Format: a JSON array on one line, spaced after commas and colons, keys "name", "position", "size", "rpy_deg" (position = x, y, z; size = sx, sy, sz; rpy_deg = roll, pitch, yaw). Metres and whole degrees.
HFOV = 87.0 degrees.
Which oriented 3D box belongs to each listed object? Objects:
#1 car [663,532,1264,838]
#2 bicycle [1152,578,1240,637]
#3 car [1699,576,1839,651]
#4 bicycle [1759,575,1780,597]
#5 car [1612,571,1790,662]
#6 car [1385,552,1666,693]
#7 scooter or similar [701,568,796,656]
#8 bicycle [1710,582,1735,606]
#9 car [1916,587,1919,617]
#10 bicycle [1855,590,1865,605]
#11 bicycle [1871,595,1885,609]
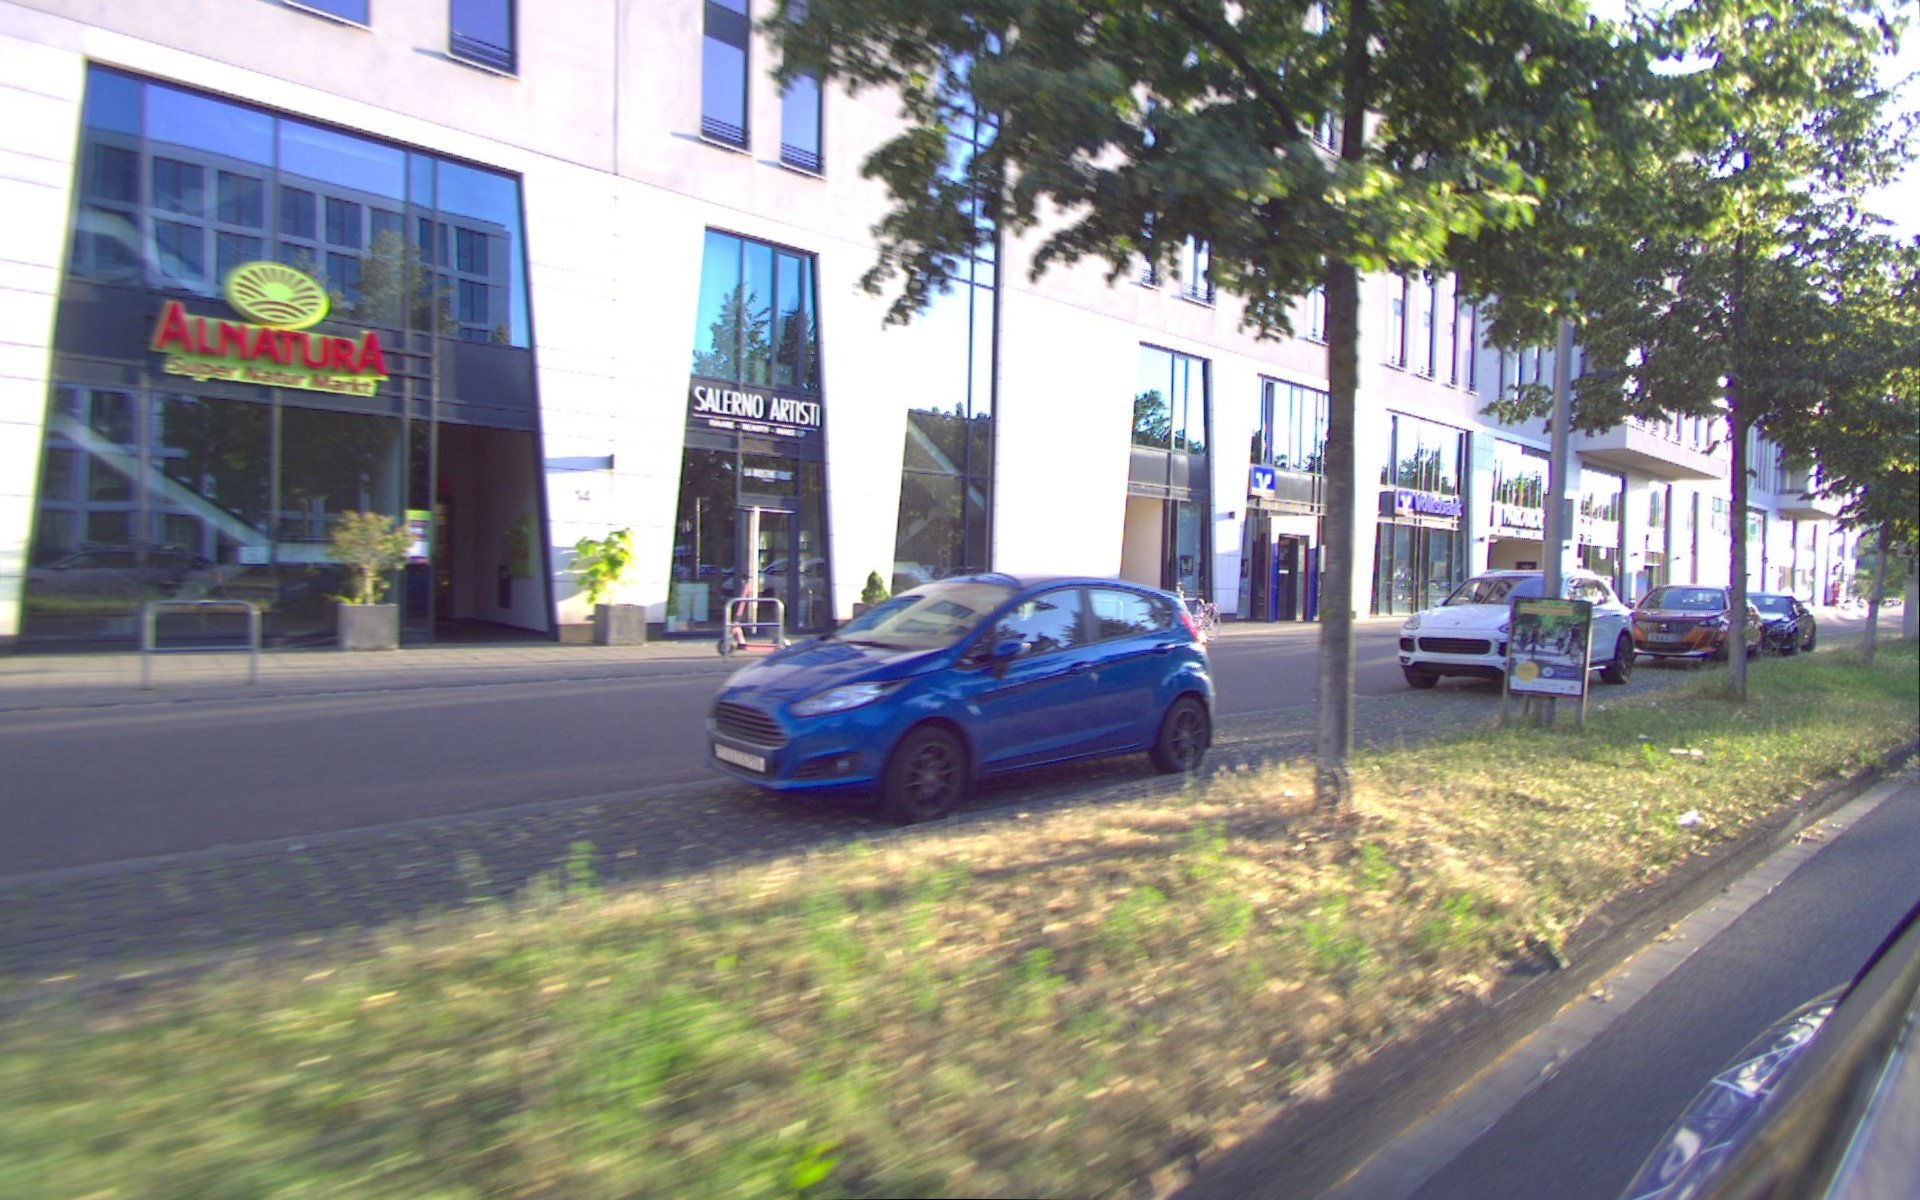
[{"name": "car", "position": [0.245, 0.410, 7.172], "size": [4.194, 1.549, 1.727], "rpy_deg": [0, 1, -42]}, {"name": "bicycle", "position": [4.814, 0.154, 20.615], "size": [1.797, 1.138, 0.573], "rpy_deg": [1, 3, -30]}, {"name": "car", "position": [19.395, 0.260, 24.180], "size": [4.731, 1.568, 1.946], "rpy_deg": [0, 2, -43]}, {"name": "bicycle", "position": [44.696, -0.753, 55.881], "size": [1.749, 1.178, 0.539], "rpy_deg": [0, 3, -41]}, {"name": "car", "position": [14.206, 0.262, 19.303], "size": [4.405, 1.549, 1.857], "rpy_deg": [0, 1, -42]}, {"name": "car", "position": [8.437, 0.254, 14.891], "size": [5.067, 1.736, 1.955], "rpy_deg": [0, 1, -40]}, {"name": "scooter or similar", "position": [-3.017, 0.163, 14.512], "size": [1.287, 1.201, 0.357], "rpy_deg": [0, 3, -40]}, {"name": "bicycle", "position": [36.600, -0.290, 48.591], "size": [1.824, 1.073, 0.534], "rpy_deg": [0, 3, -41]}, {"name": "car", "position": [51.154, 0.132, 52.571], "size": [4.742, 1.519, 1.811], "rpy_deg": [0, 2, -42]}, {"name": "bicycle", "position": [68.869, -0.194, 77.418], "size": [0.533, 1.073, 1.587], "rpy_deg": [2, 2, 43]}, {"name": "bicycle", "position": [73.035, 0.141, 80.496], "size": [2.223, 1.046, 0.621], "rpy_deg": [0, 2, -43]}]
